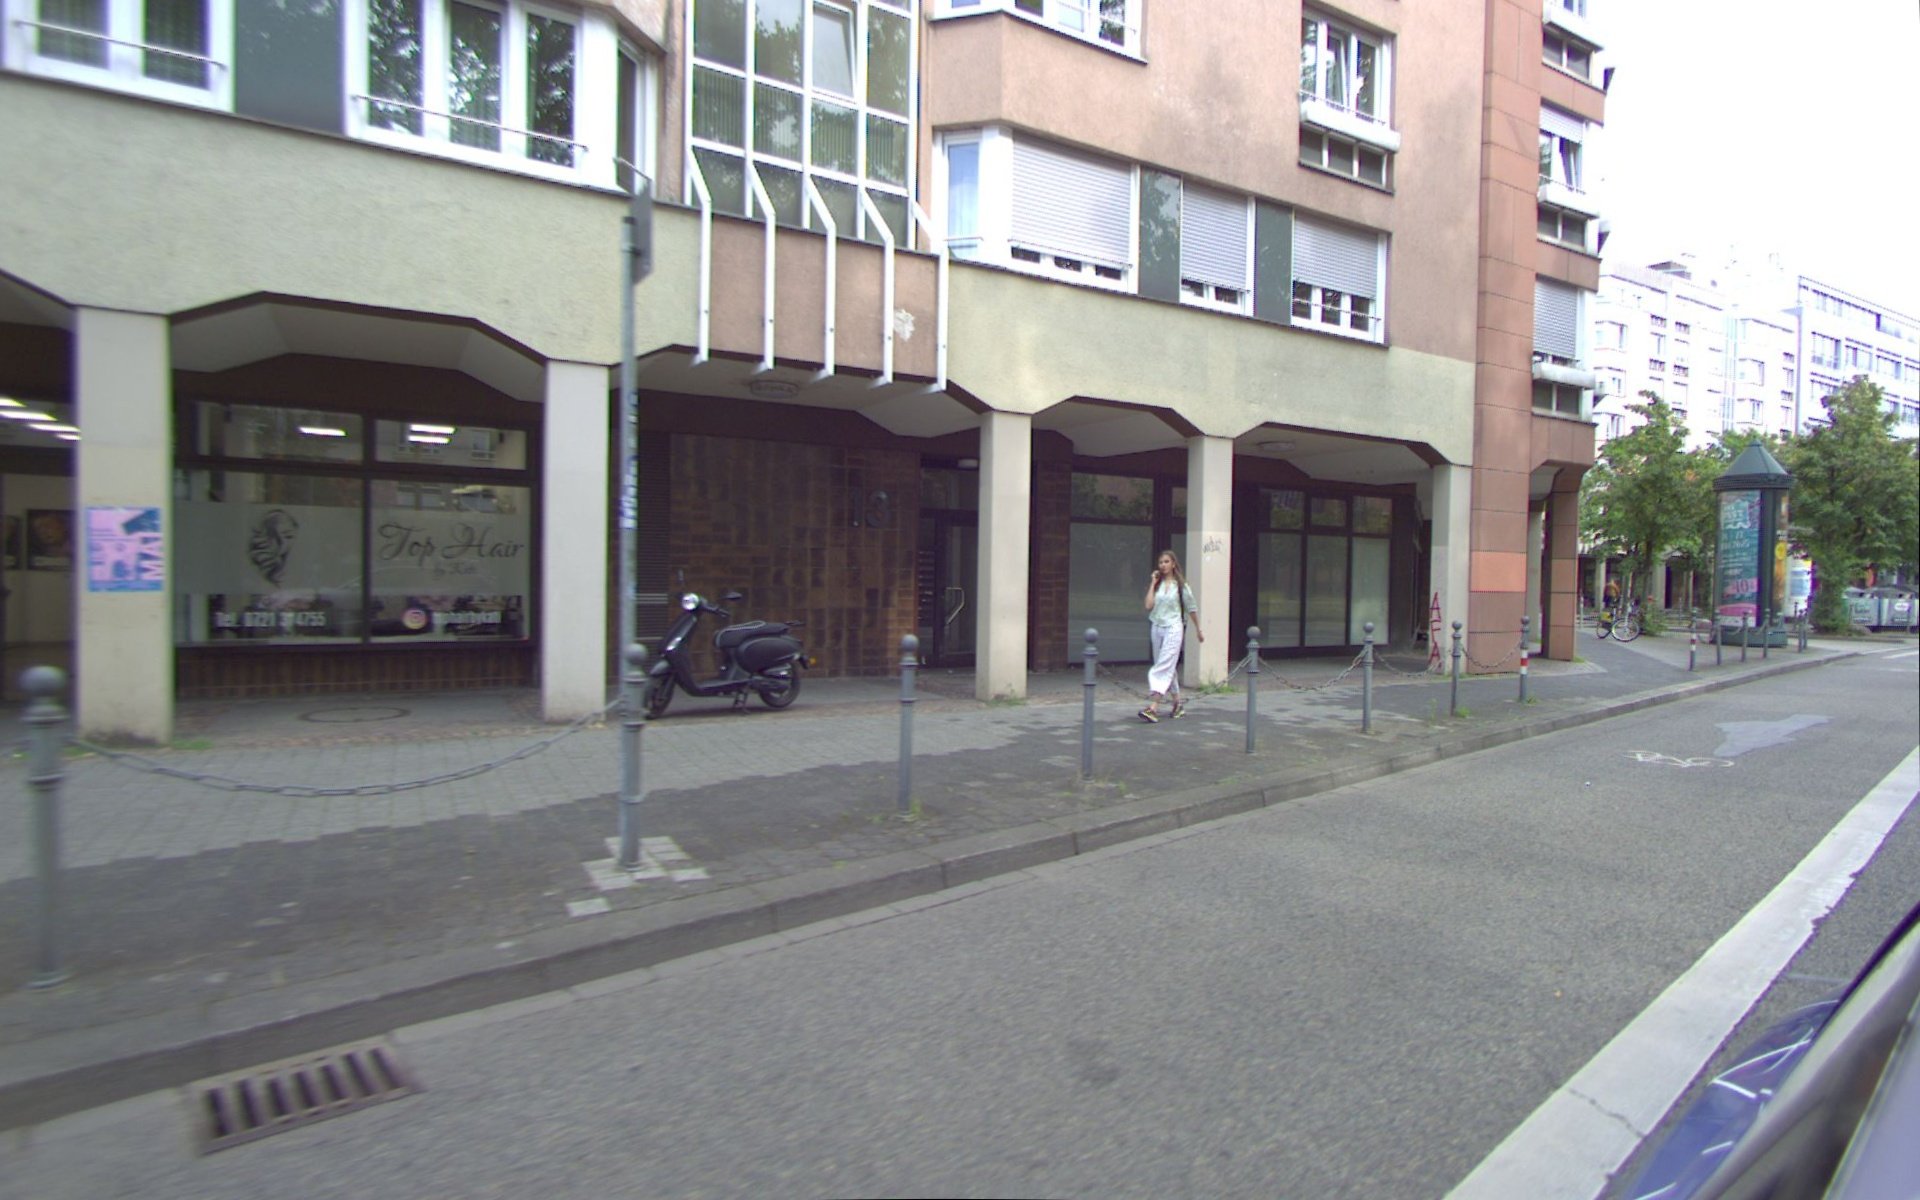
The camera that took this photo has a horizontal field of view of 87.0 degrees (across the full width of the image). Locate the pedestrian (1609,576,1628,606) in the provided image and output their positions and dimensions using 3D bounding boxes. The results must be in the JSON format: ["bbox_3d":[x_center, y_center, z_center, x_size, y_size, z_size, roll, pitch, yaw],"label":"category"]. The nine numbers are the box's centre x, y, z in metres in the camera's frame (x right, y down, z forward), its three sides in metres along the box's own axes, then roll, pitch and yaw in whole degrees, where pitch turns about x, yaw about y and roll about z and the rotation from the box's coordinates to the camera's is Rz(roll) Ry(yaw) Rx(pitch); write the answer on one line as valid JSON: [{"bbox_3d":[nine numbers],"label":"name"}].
[{"bbox_3d":[37.248,-0.494,57.209,0.834,1.683,0.535,0,1,-29],"label":"pedestrian"}]

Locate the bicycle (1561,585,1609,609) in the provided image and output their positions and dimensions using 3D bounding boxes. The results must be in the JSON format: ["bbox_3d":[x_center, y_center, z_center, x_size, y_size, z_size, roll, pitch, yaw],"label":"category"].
[{"bbox_3d":[30.633,-0.168,49.627,1.929,1.126,0.597,1,1,5],"label":"bicycle"}]

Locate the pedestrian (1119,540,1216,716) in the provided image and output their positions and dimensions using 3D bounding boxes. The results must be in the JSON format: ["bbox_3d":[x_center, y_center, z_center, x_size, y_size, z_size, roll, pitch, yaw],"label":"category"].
[{"bbox_3d":[2.065,0.257,10.052,0.810,1.670,0.544,0,1,-41],"label":"pedestrian"}]

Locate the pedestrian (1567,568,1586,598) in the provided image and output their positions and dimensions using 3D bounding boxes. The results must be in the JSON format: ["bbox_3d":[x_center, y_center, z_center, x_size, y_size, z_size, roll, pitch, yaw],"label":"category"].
[{"bbox_3d":[34.432,-0.936,56.518,0.668,1.683,0.608,0,1,-32],"label":"pedestrian"}]

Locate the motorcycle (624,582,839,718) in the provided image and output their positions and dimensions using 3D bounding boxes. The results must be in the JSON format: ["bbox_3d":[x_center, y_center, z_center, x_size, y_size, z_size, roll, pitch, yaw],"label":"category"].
[{"bbox_3d":[-2.145,0.443,9.594,1.865,1.170,0.619,1,2,-30],"label":"motorcycle"}]

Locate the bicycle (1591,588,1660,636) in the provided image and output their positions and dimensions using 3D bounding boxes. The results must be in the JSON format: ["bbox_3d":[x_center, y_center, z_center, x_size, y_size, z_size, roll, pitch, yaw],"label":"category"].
[{"bbox_3d":[17.491,0.299,26.644,0.658,1.142,1.666,1,2,0],"label":"bicycle"}]
